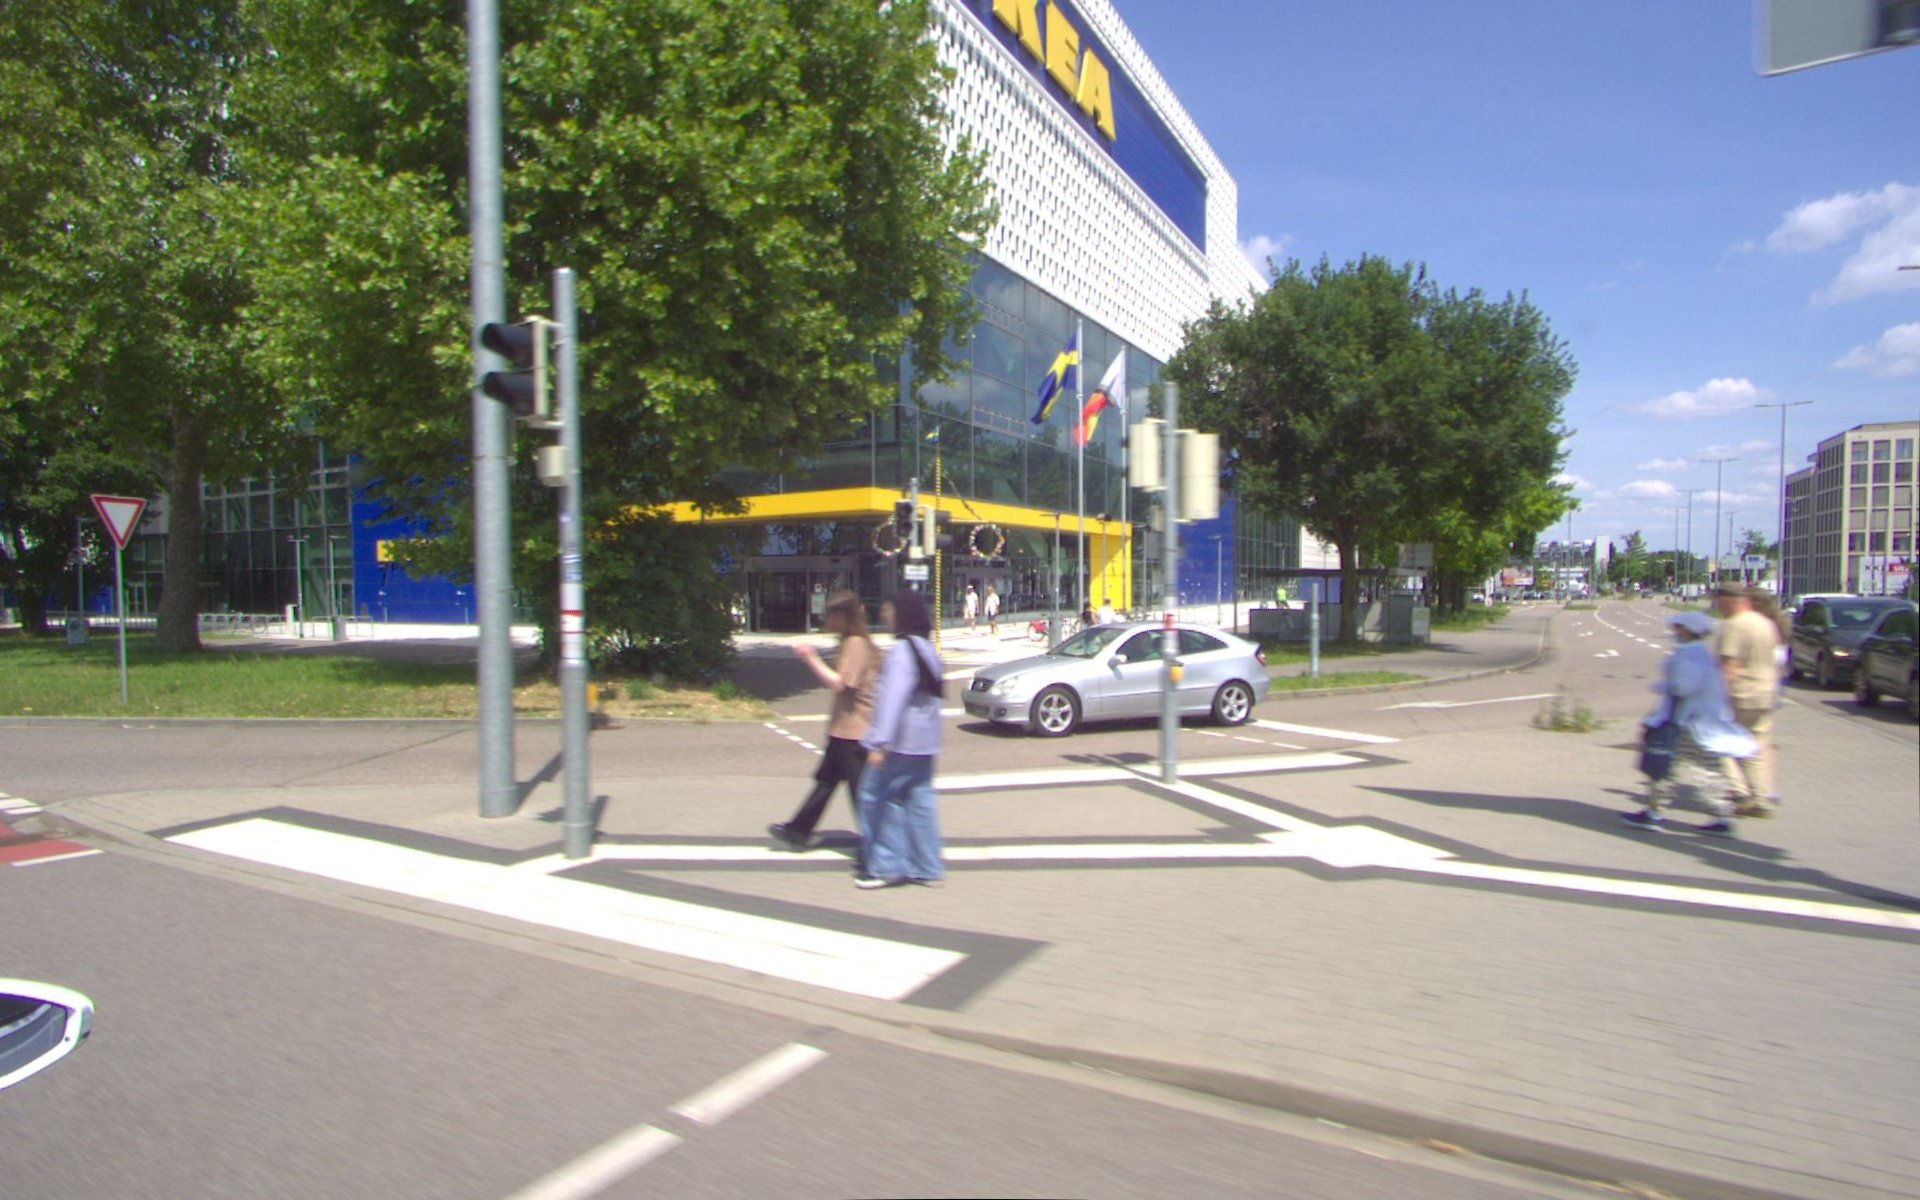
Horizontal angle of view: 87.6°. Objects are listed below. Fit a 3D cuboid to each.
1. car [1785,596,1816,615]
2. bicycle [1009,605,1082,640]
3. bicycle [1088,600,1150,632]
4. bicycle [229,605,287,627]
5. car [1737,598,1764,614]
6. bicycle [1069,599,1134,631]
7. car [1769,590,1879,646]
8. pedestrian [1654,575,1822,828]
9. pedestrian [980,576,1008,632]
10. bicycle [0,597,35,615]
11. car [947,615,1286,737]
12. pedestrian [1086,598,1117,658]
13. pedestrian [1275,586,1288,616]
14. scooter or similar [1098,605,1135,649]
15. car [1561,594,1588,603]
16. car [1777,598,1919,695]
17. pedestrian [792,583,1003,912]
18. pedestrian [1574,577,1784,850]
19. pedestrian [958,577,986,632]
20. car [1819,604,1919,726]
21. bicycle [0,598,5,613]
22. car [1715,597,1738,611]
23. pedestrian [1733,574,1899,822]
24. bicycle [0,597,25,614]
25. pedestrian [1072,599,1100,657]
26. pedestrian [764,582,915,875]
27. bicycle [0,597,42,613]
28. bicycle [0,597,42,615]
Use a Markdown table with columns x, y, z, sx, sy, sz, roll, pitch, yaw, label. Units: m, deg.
| x | y | z | sx | sy | sz | roll | pitch | yaw | label |
| --- | --- | --- | --- | --- | --- | --- | --- | --- | --- |
| 92.236 | 0.621 | 109.916 | 1.971 | 2.040 | 3.980 | 0 | 0 | 31 | car |
| 2.936 | 0.745 | 34.252 | 2.389 | 1.160 | 0.801 | 0 | 1 | 17 | bicycle |
| 6.330 | 0.629 | 39.867 | 2.389 | 1.215 | 0.801 | 0 | 1 | 17 | bicycle |
| -32.369 | 0.715 | 46.206 | 0.855 | 0.982 | 2.059 | 0 | 1 | 26 | bicycle |
| 81.255 | 0.599 | 102.948 | 1.735 | 1.633 | 3.531 | 0 | 0 | 31 | car |
| 5.481 | 0.559 | 38.762 | 2.389 | 1.215 | 0.801 | 0 | 1 | 17 | bicycle |
| 27.538 | 0.521 | 32.073 | 1.971 | 1.662 | 4.061 | 0 | 0 | 31 | car |
| 5.622 | 0.678 | 7.239 | 0.789 | 1.681 | 0.844 | -1 | 1 | -43 | pedestrian |
| 1.264 | 0.145 | 37.104 | 0.723 | 2.041 | 0.794 | 1 | 1 | 38 | pedestrian |
| -61.507 | 0.361 | 64.644 | 0.746 | 1.125 | 2.545 | 0 | 1 | 25 | bicycle |
| 2.105 | 0.930 | 13.478 | 4.250 | 1.437 | 1.727 | 0 | -1 | -22 | car |
| 3.914 | 0.759 | 27.593 | 0.623 | 1.607 | 0.918 | 0 | 1 | 25 | pedestrian |
| 16.867 | 0.049 | 52.491 | 0.570 | 1.607 | 0.766 | 0 | 1 | 25 | pedestrian |
| 4.446 | 0.752 | 28.392 | 0.717 | 1.214 | 1.073 | 0 | 0 | 28 | scooter or similar |
| 106.665 | -0.264 | 173.916 | 3.622 | 1.633 | 1.800 | 0 | 0 | 6 | car |
| 16.681 | 0.779 | 18.476 | 1.836 | 1.605 | 4.393 | 0 | 0 | 31 | car |
| -0.334 | 0.734 | 5.510 | 0.884 | 1.627 | 0.763 | 0 | 1 | 32 | pedestrian |
| 4.790 | 0.701 | 6.709 | 0.784 | 1.681 | 0.849 | 0 | 1 | -21 | pedestrian |
| 0.452 | 0.168 | 37.669 | 0.724 | 2.041 | 0.793 | 1 | 1 | 42 | pedestrian |
| 13.432 | 0.815 | 13.464 | 1.824 | 1.462 | 4.397 | 0 | 1 | 27 | car |
| -64.798 | 0.400 | 65.995 | 0.746 | 0.983 | 2.545 | 0 | 1 | 25 | bicycle |
| 90.244 | 0.459 | 117.910 | 1.735 | 1.633 | 3.531 | 0 | 0 | 31 | car |
| 6.292 | 0.668 | 7.367 | 0.789 | 1.681 | 0.844 | -1 | 1 | -43 | pedestrian |
| -62.495 | 0.372 | 65.007 | 0.746 | 1.125 | 2.545 | 0 | 1 | 25 | bicycle |
| 3.529 | 0.771 | 27.981 | 0.623 | 1.607 | 0.609 | 0 | 1 | 25 | pedestrian |
| -0.742 | 0.749 | 6.238 | 0.714 | 1.705 | 0.623 | 0 | 1 | 24 | pedestrian |
| -59.760 | 0.332 | 63.407 | 0.746 | 0.973 | 2.315 | 0 | 1 | 25 | bicycle |
| -60.605 | 0.349 | 64.146 | 0.746 | 1.125 | 2.545 | 0 | 1 | 25 | bicycle |
